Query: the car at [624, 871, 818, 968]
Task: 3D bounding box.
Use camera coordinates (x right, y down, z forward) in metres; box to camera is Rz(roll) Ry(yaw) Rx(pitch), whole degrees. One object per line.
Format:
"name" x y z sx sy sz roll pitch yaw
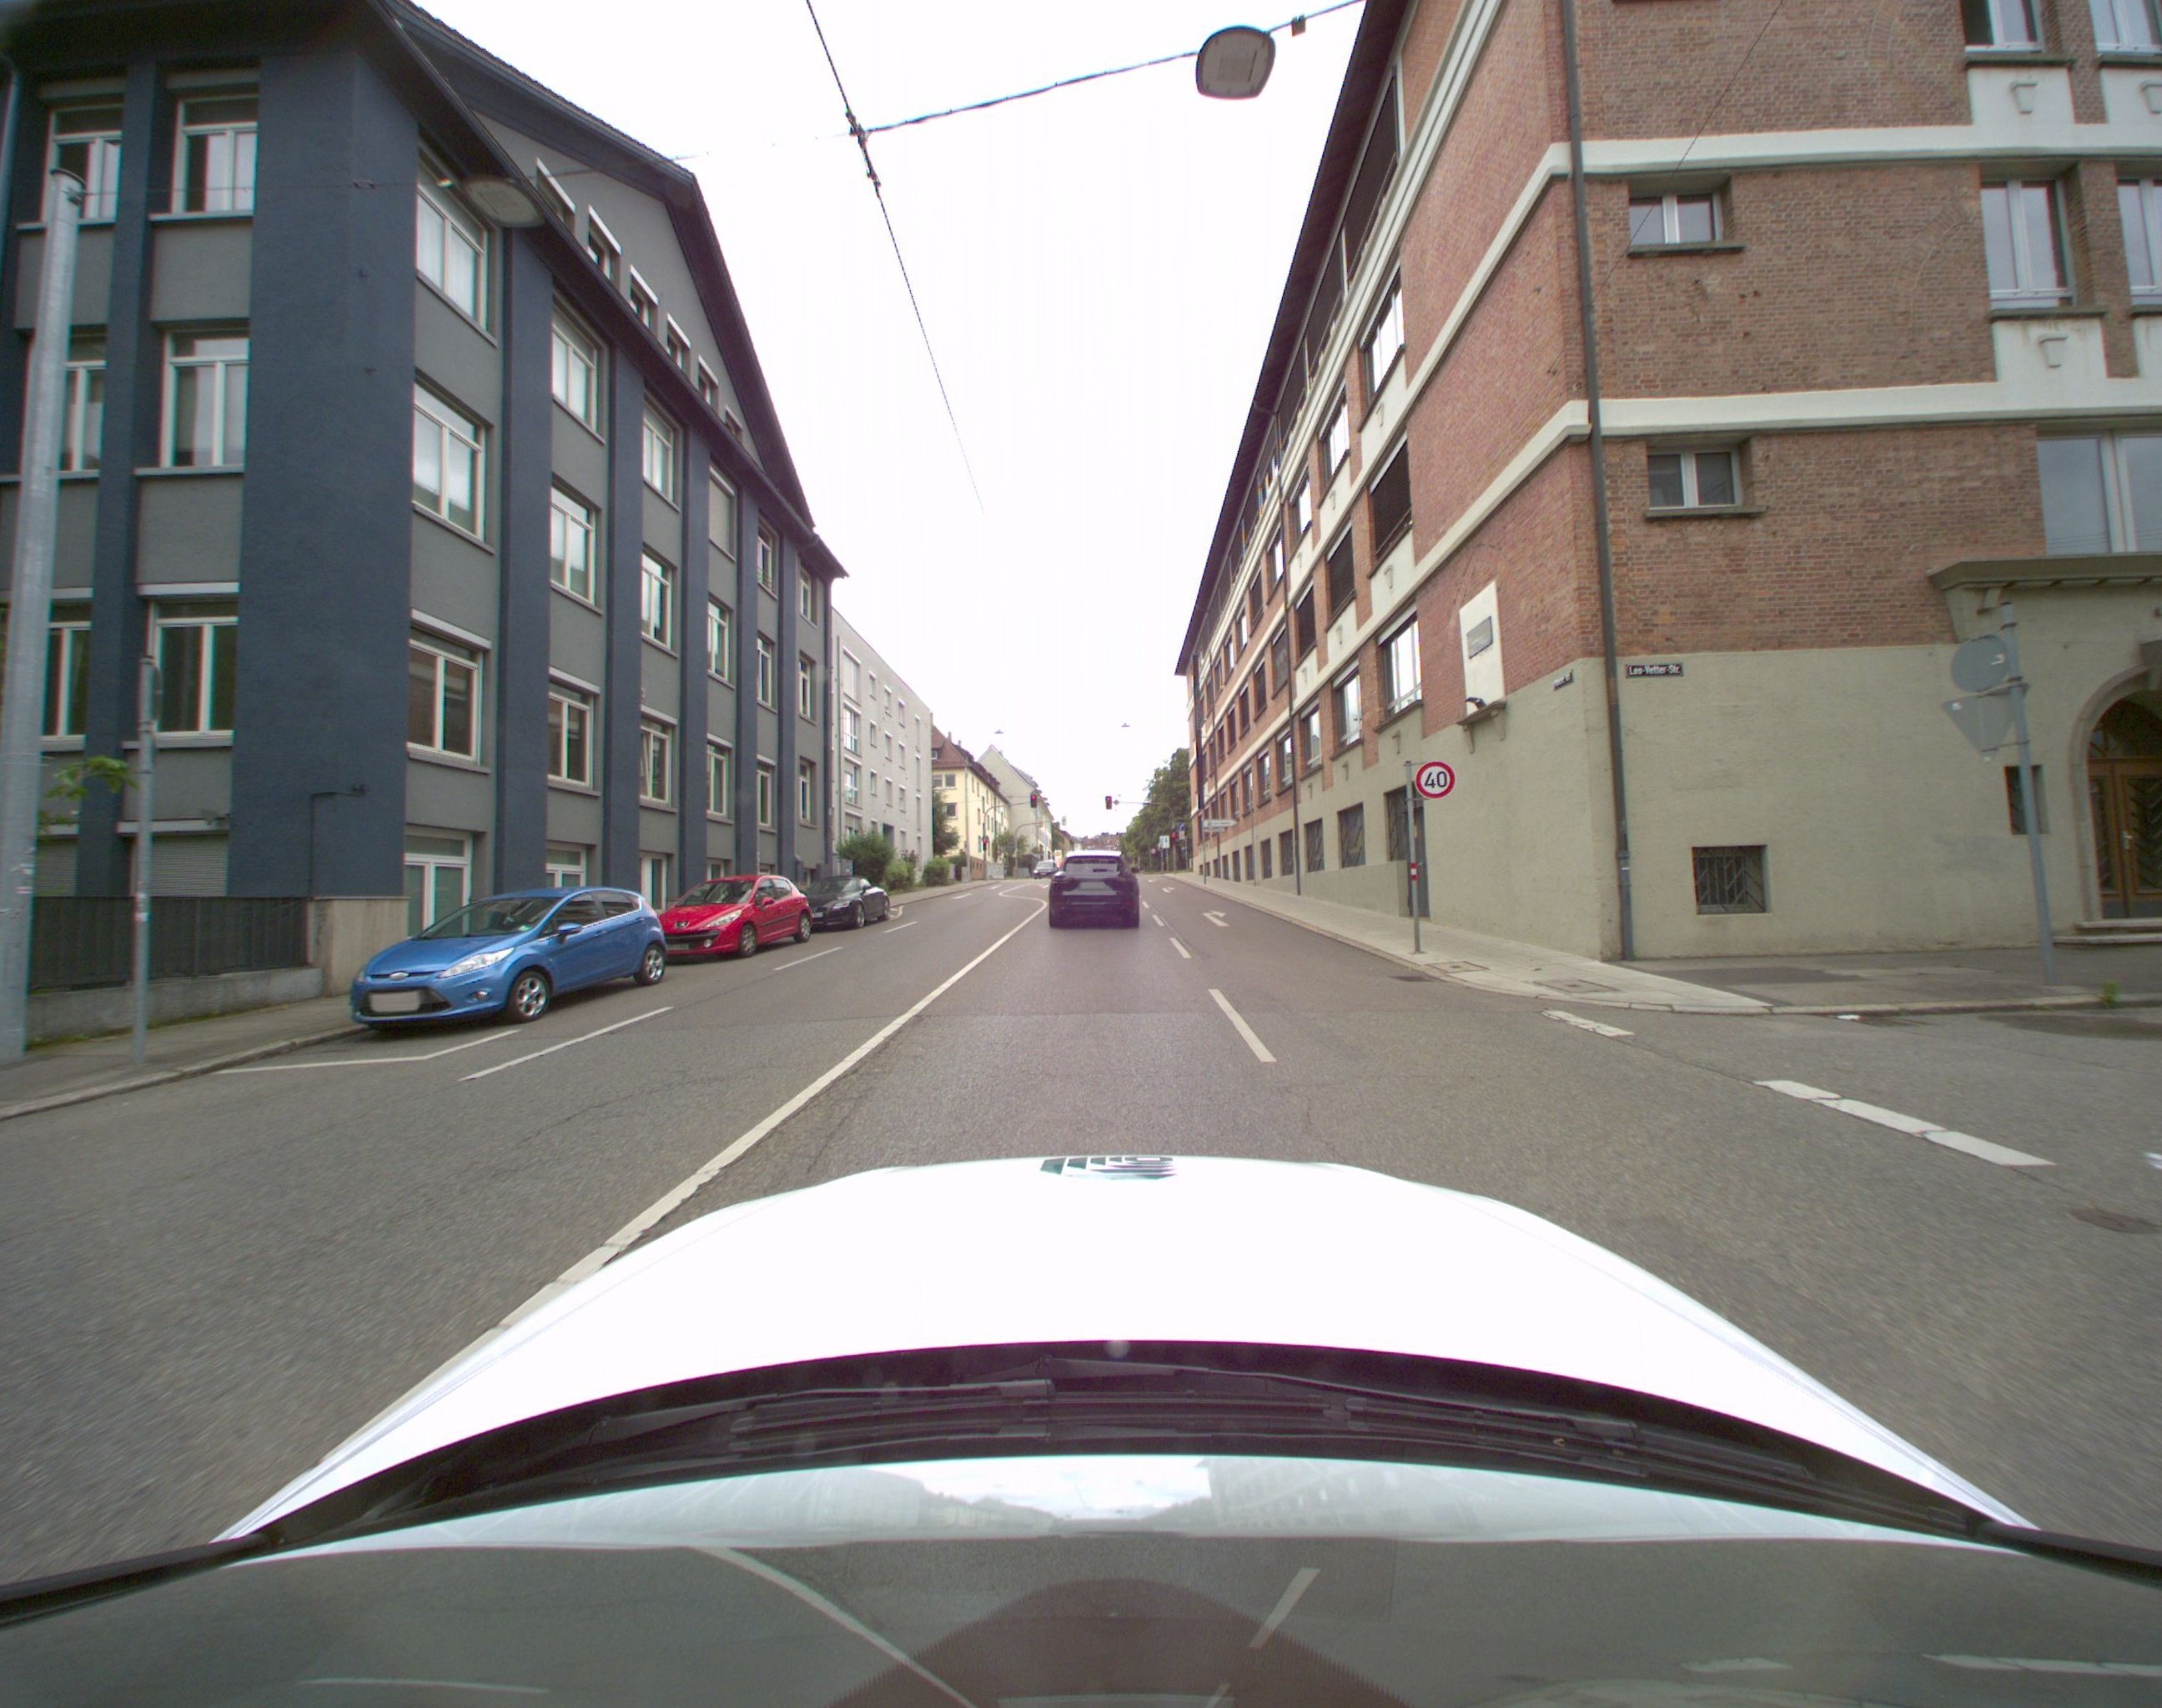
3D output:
"car" -6.703 1.143 15.687 1.707 1.456 3.992 -4 0 3

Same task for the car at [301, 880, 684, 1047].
"car" -6.872 1.168 10.157 1.708 1.423 3.991 -4 0 2

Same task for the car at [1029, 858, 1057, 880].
"car" -3.345 1.299 72.101 1.889 1.691 4.004 -4 0 3

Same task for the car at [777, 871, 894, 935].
"car" -6.292 1.210 21.341 1.708 1.341 3.906 -4 0 2

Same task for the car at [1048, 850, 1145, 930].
"car" 0.250 0.757 19.129 2.019 1.641 4.352 0 0 -2
